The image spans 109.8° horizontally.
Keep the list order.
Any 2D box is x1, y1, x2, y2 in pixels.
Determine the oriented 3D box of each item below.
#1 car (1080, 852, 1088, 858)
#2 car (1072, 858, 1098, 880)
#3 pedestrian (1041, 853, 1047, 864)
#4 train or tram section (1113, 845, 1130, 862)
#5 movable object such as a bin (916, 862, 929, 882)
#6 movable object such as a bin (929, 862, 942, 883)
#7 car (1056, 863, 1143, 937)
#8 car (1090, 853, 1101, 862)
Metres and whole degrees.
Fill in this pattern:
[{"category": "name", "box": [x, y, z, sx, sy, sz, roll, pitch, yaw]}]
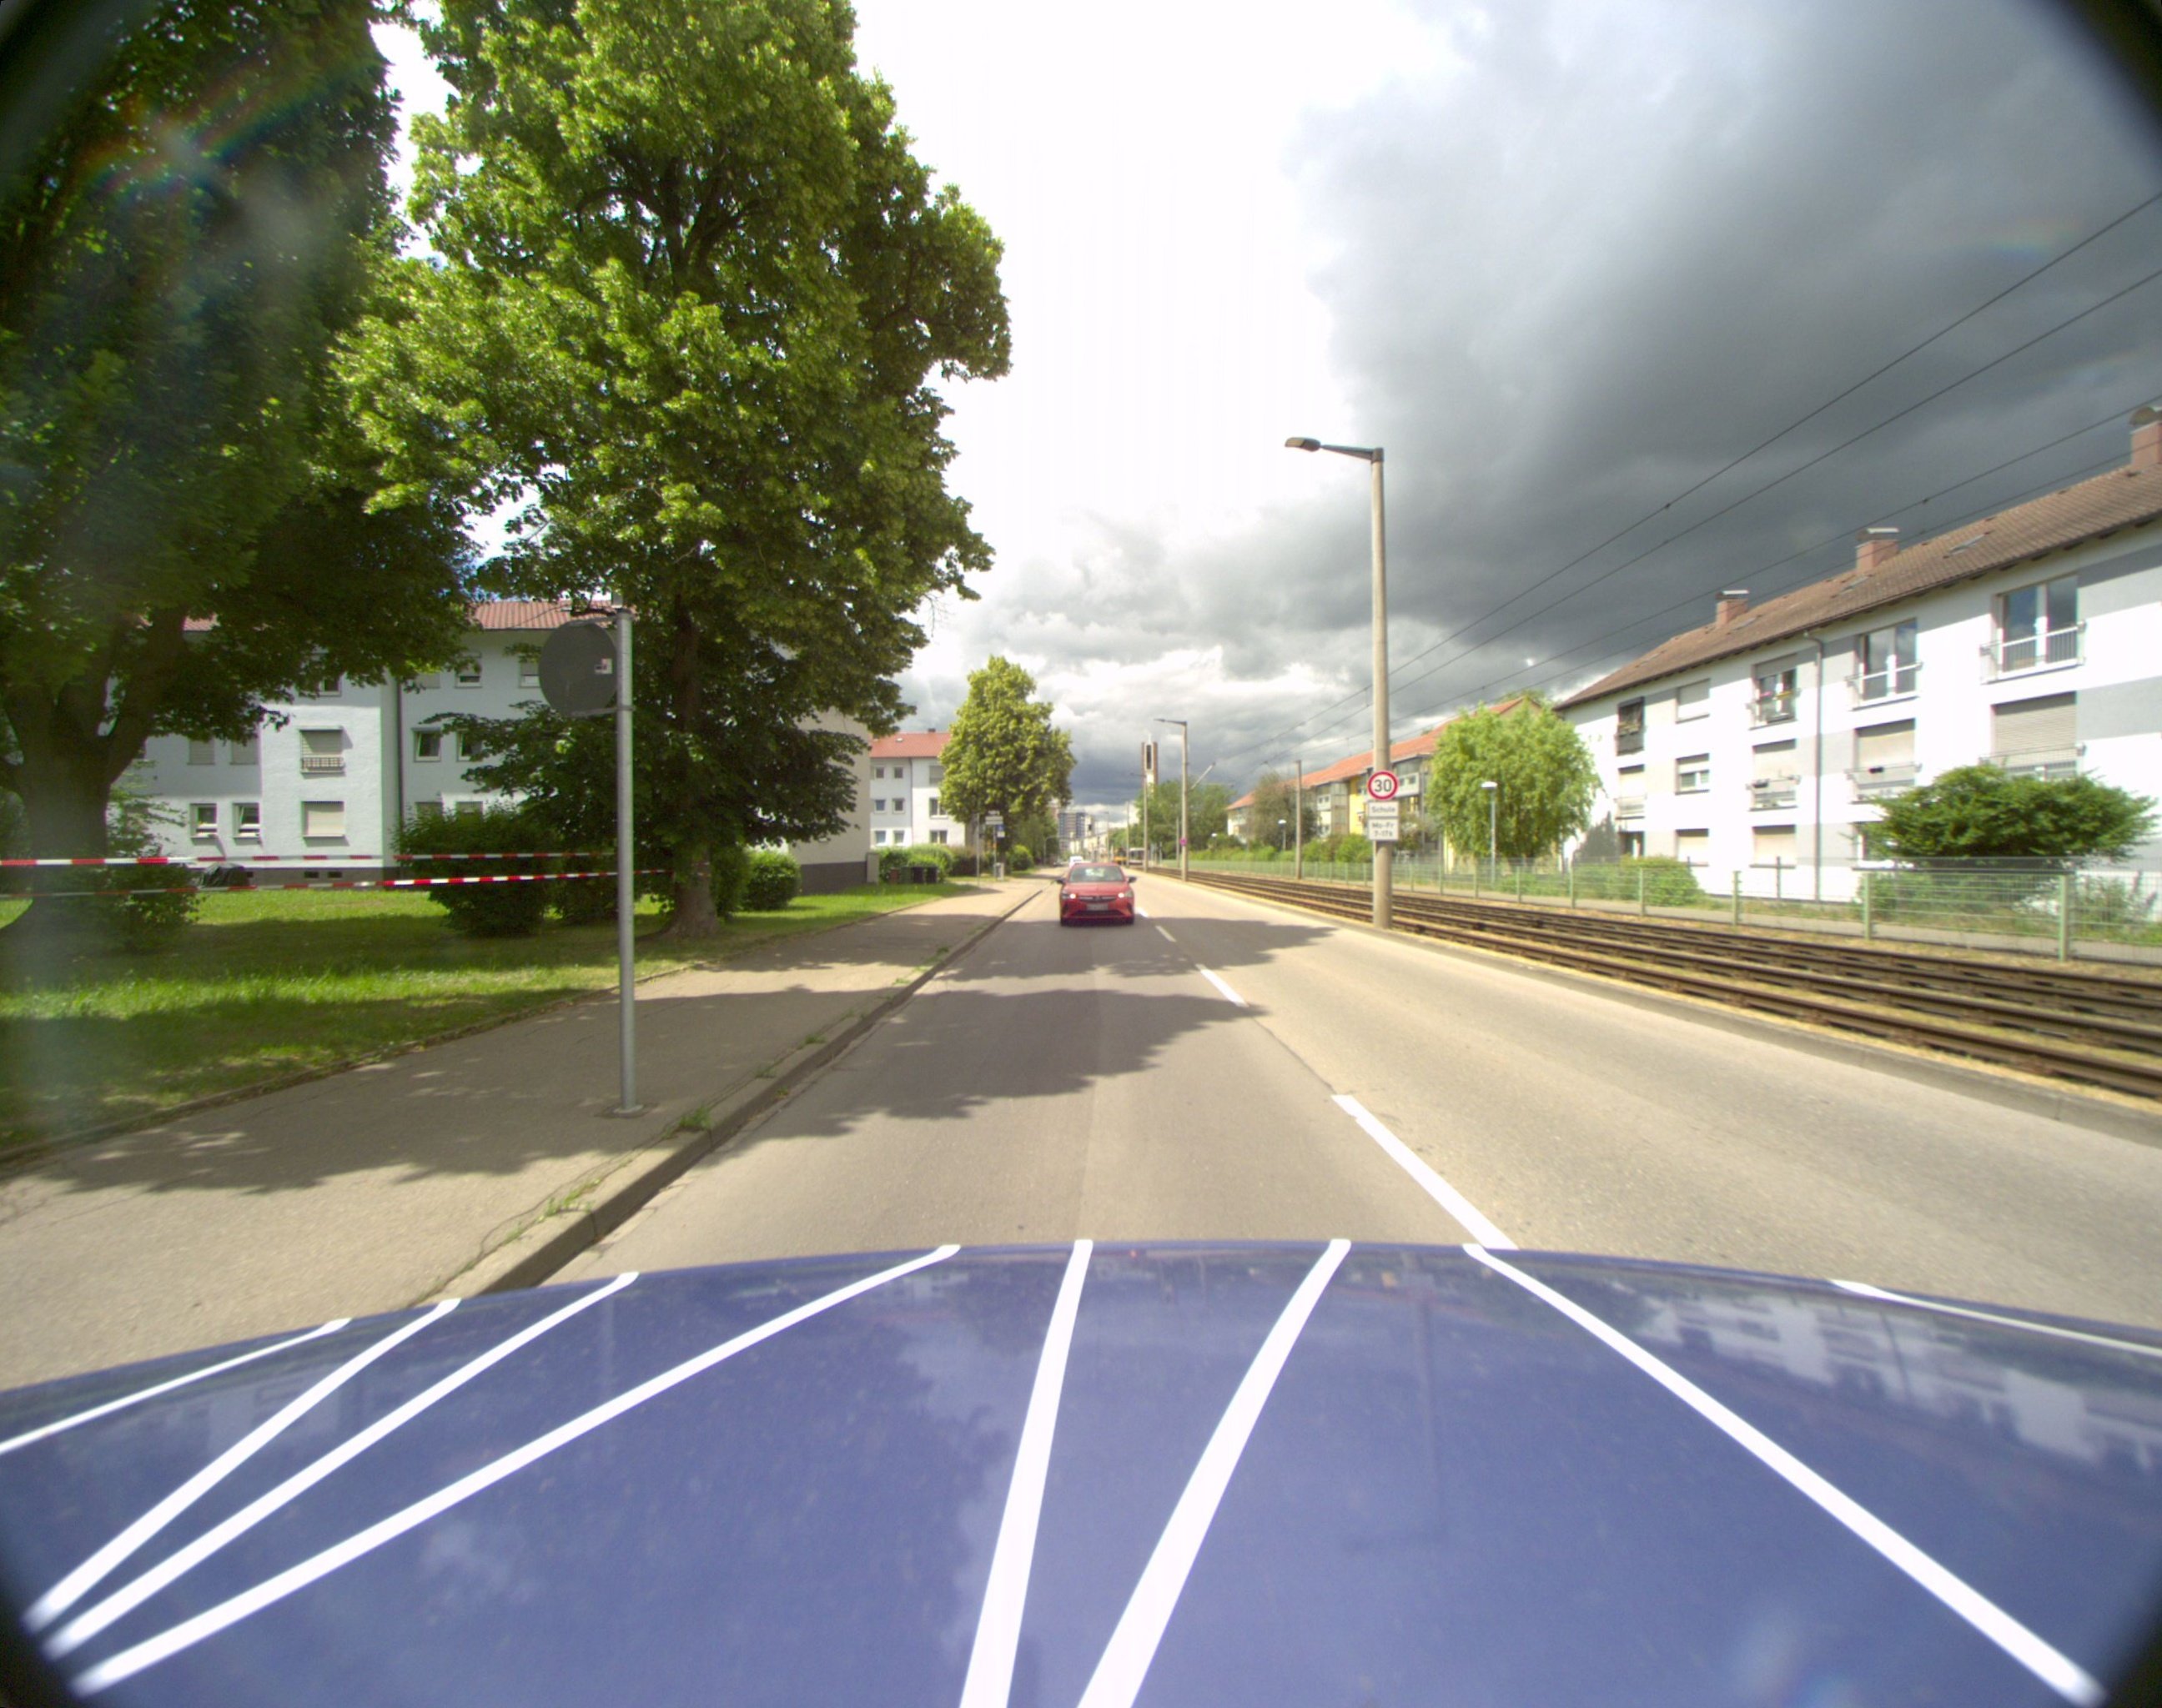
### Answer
[{"category": "car", "box": [0.770, 0.321, 201.490, 1.633, 1.424, 4.166, -2, 0, -3]}, {"category": "car", "box": [0.284, 1.034, 53.943, 1.756, 1.433, 4.226, -1, 0, 1]}, {"category": "pedestrian", "box": [-6.031, 0.793, 123.107, 0.811, 1.761, 0.817, 2, 1, 5]}, {"category": "train or tram section", "box": [10.073, -0.067, 191.281, 2.988, 3.840, 18.535, -2, 0, -1]}, {"category": "movable object such as a bin", "box": [-7.612, 0.878, 36.408, 0.501, 0.941, 0.551, 1, 1, 0]}, {"category": "movable object such as a bin", "box": [-6.987, 0.886, 36.524, 0.497, 0.949, 0.580, 1, 1, 0]}, {"category": "car", "box": [0.398, 0.973, 17.766, 1.756, 1.433, 4.226, -1, 0, 1]}, {"category": "car", "box": [2.394, 0.535, 124.852, 1.628, 1.516, 3.581, -1, 0, 0]}]
